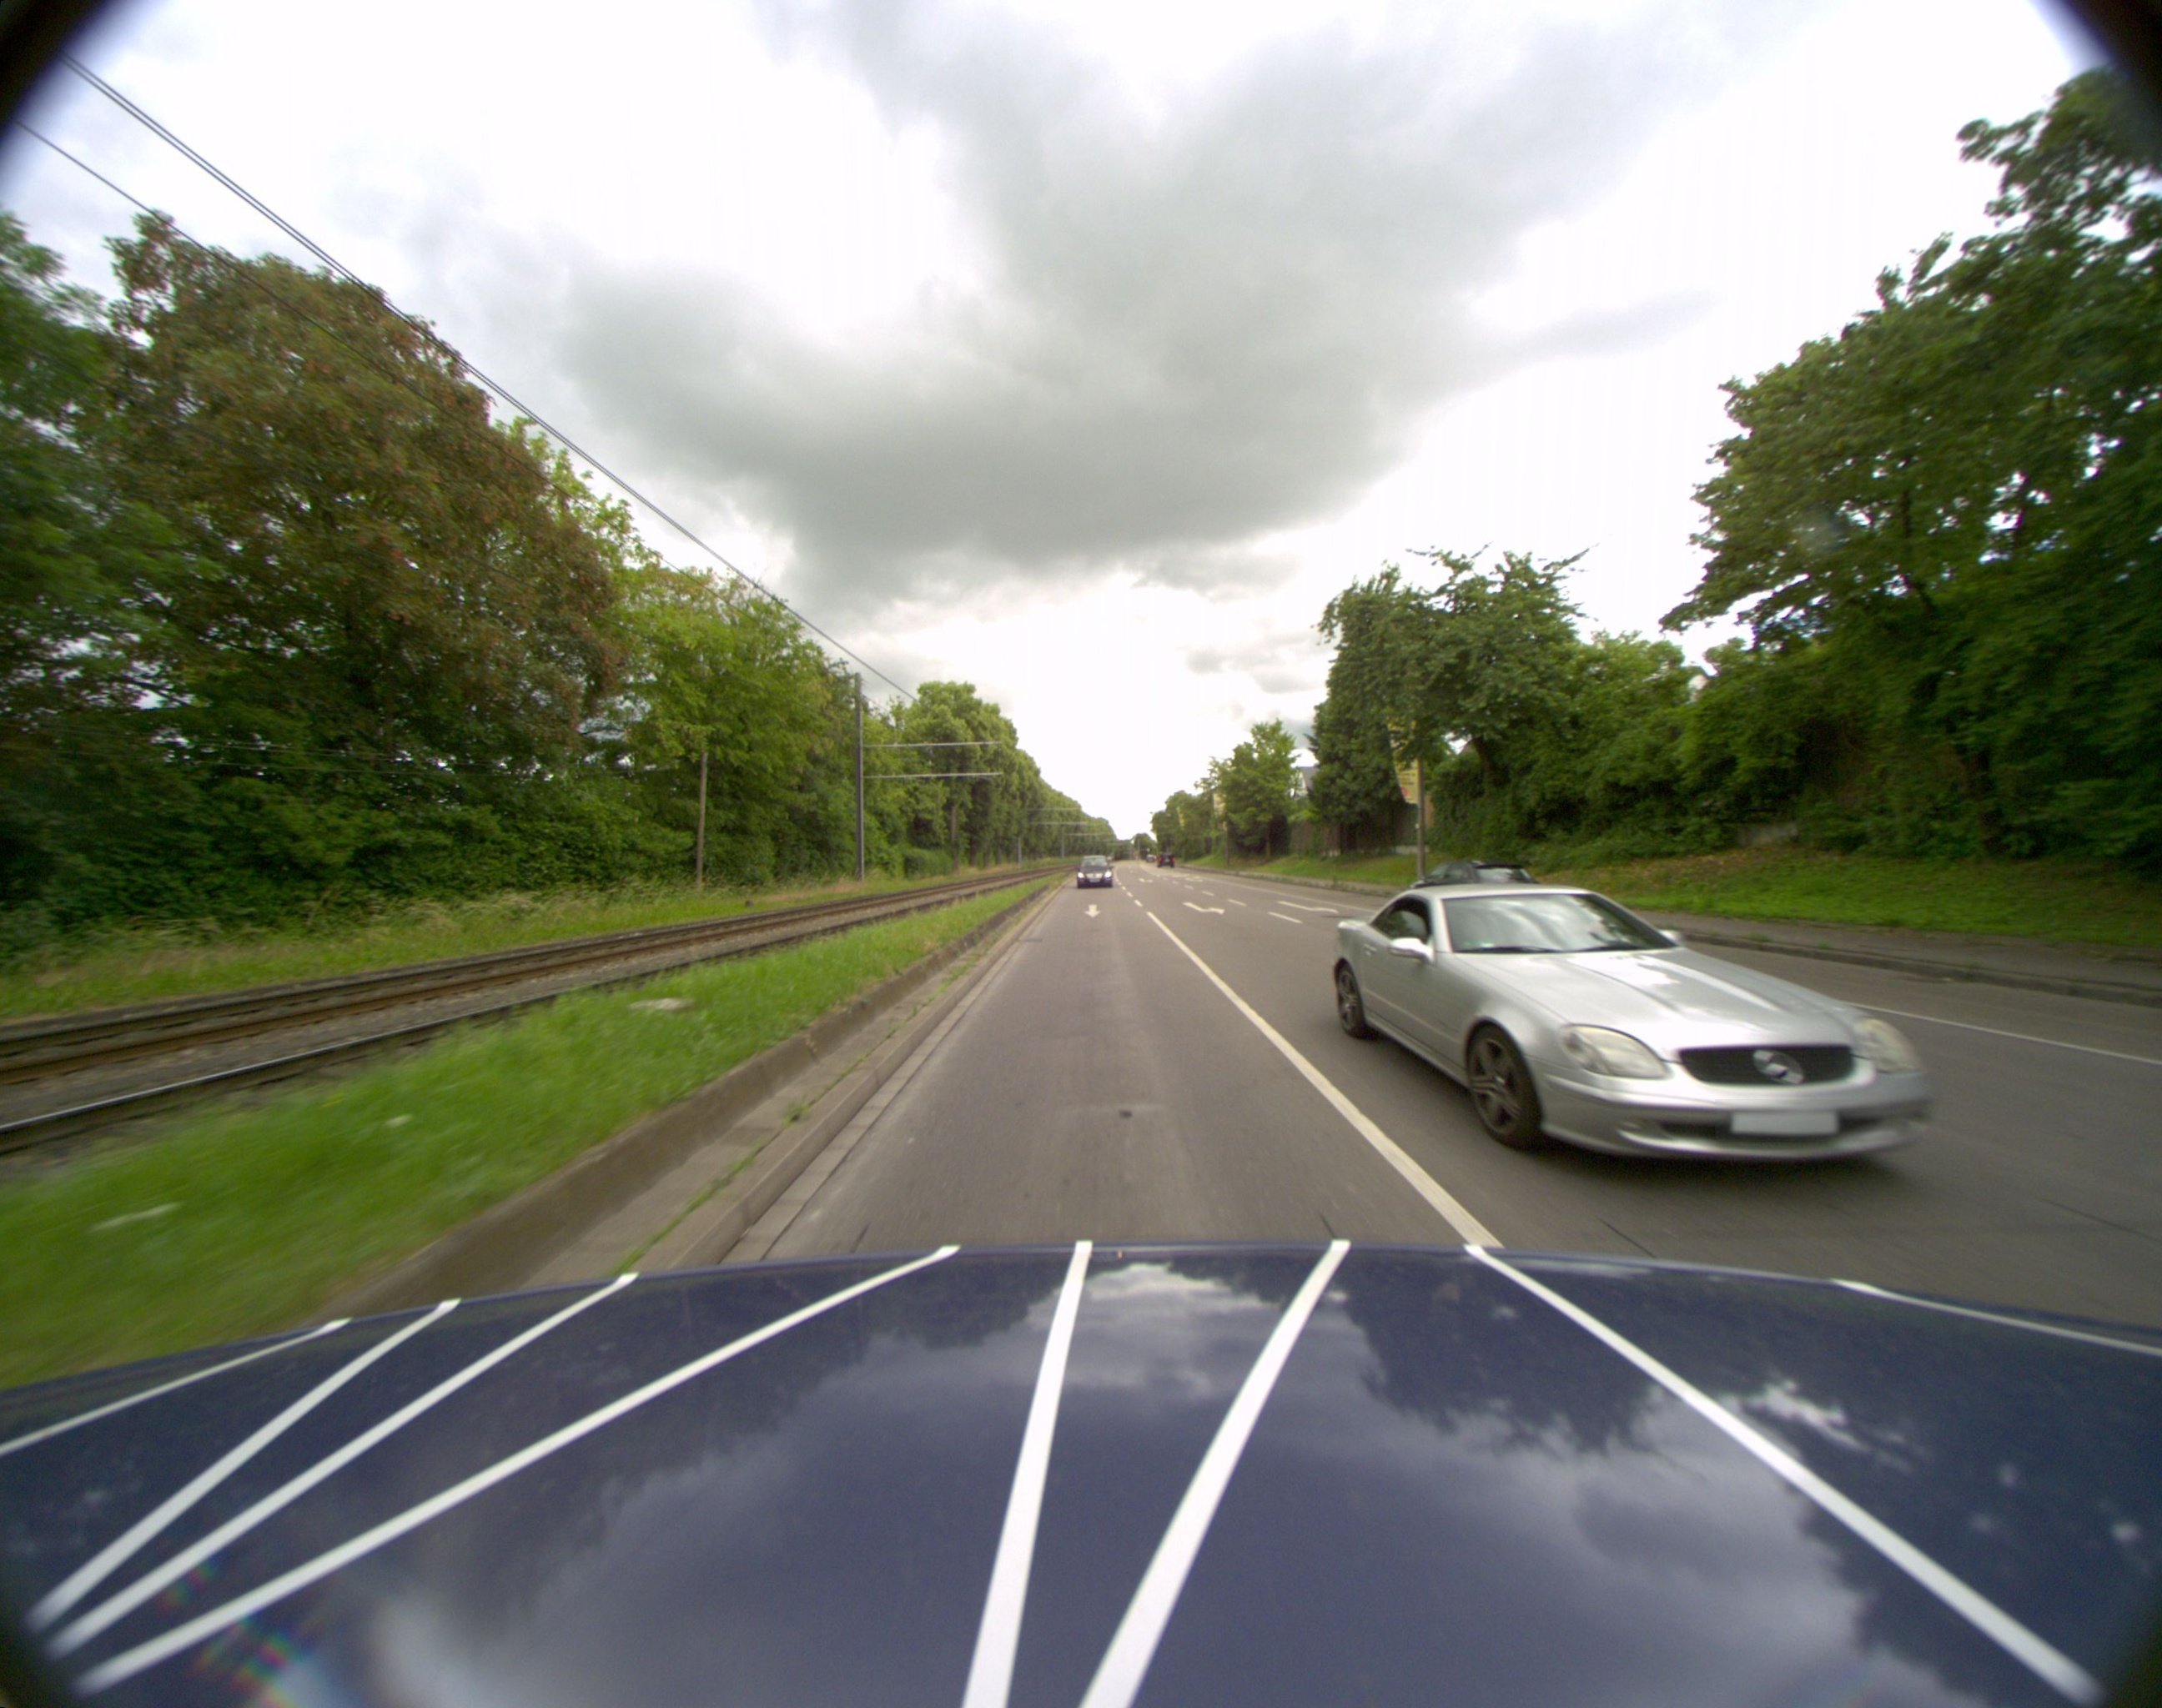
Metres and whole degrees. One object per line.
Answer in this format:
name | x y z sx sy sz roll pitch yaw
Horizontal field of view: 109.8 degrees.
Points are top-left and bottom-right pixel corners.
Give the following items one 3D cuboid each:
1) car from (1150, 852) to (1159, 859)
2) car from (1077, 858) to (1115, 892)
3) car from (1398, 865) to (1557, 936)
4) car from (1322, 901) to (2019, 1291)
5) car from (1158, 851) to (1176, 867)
car | 15.155 0.316 157.630 1.657 1.414 4.008 1 1 3
car | 0.809 1.041 38.676 1.807 1.520 3.929 -2 0 3
car | 8.867 0.976 17.371 1.634 1.387 3.833 0 0 0
car | 2.895 1.068 4.868 1.558 1.259 3.823 -2 0 2
car | 10.565 0.586 93.610 1.808 1.893 4.689 0 0 0
